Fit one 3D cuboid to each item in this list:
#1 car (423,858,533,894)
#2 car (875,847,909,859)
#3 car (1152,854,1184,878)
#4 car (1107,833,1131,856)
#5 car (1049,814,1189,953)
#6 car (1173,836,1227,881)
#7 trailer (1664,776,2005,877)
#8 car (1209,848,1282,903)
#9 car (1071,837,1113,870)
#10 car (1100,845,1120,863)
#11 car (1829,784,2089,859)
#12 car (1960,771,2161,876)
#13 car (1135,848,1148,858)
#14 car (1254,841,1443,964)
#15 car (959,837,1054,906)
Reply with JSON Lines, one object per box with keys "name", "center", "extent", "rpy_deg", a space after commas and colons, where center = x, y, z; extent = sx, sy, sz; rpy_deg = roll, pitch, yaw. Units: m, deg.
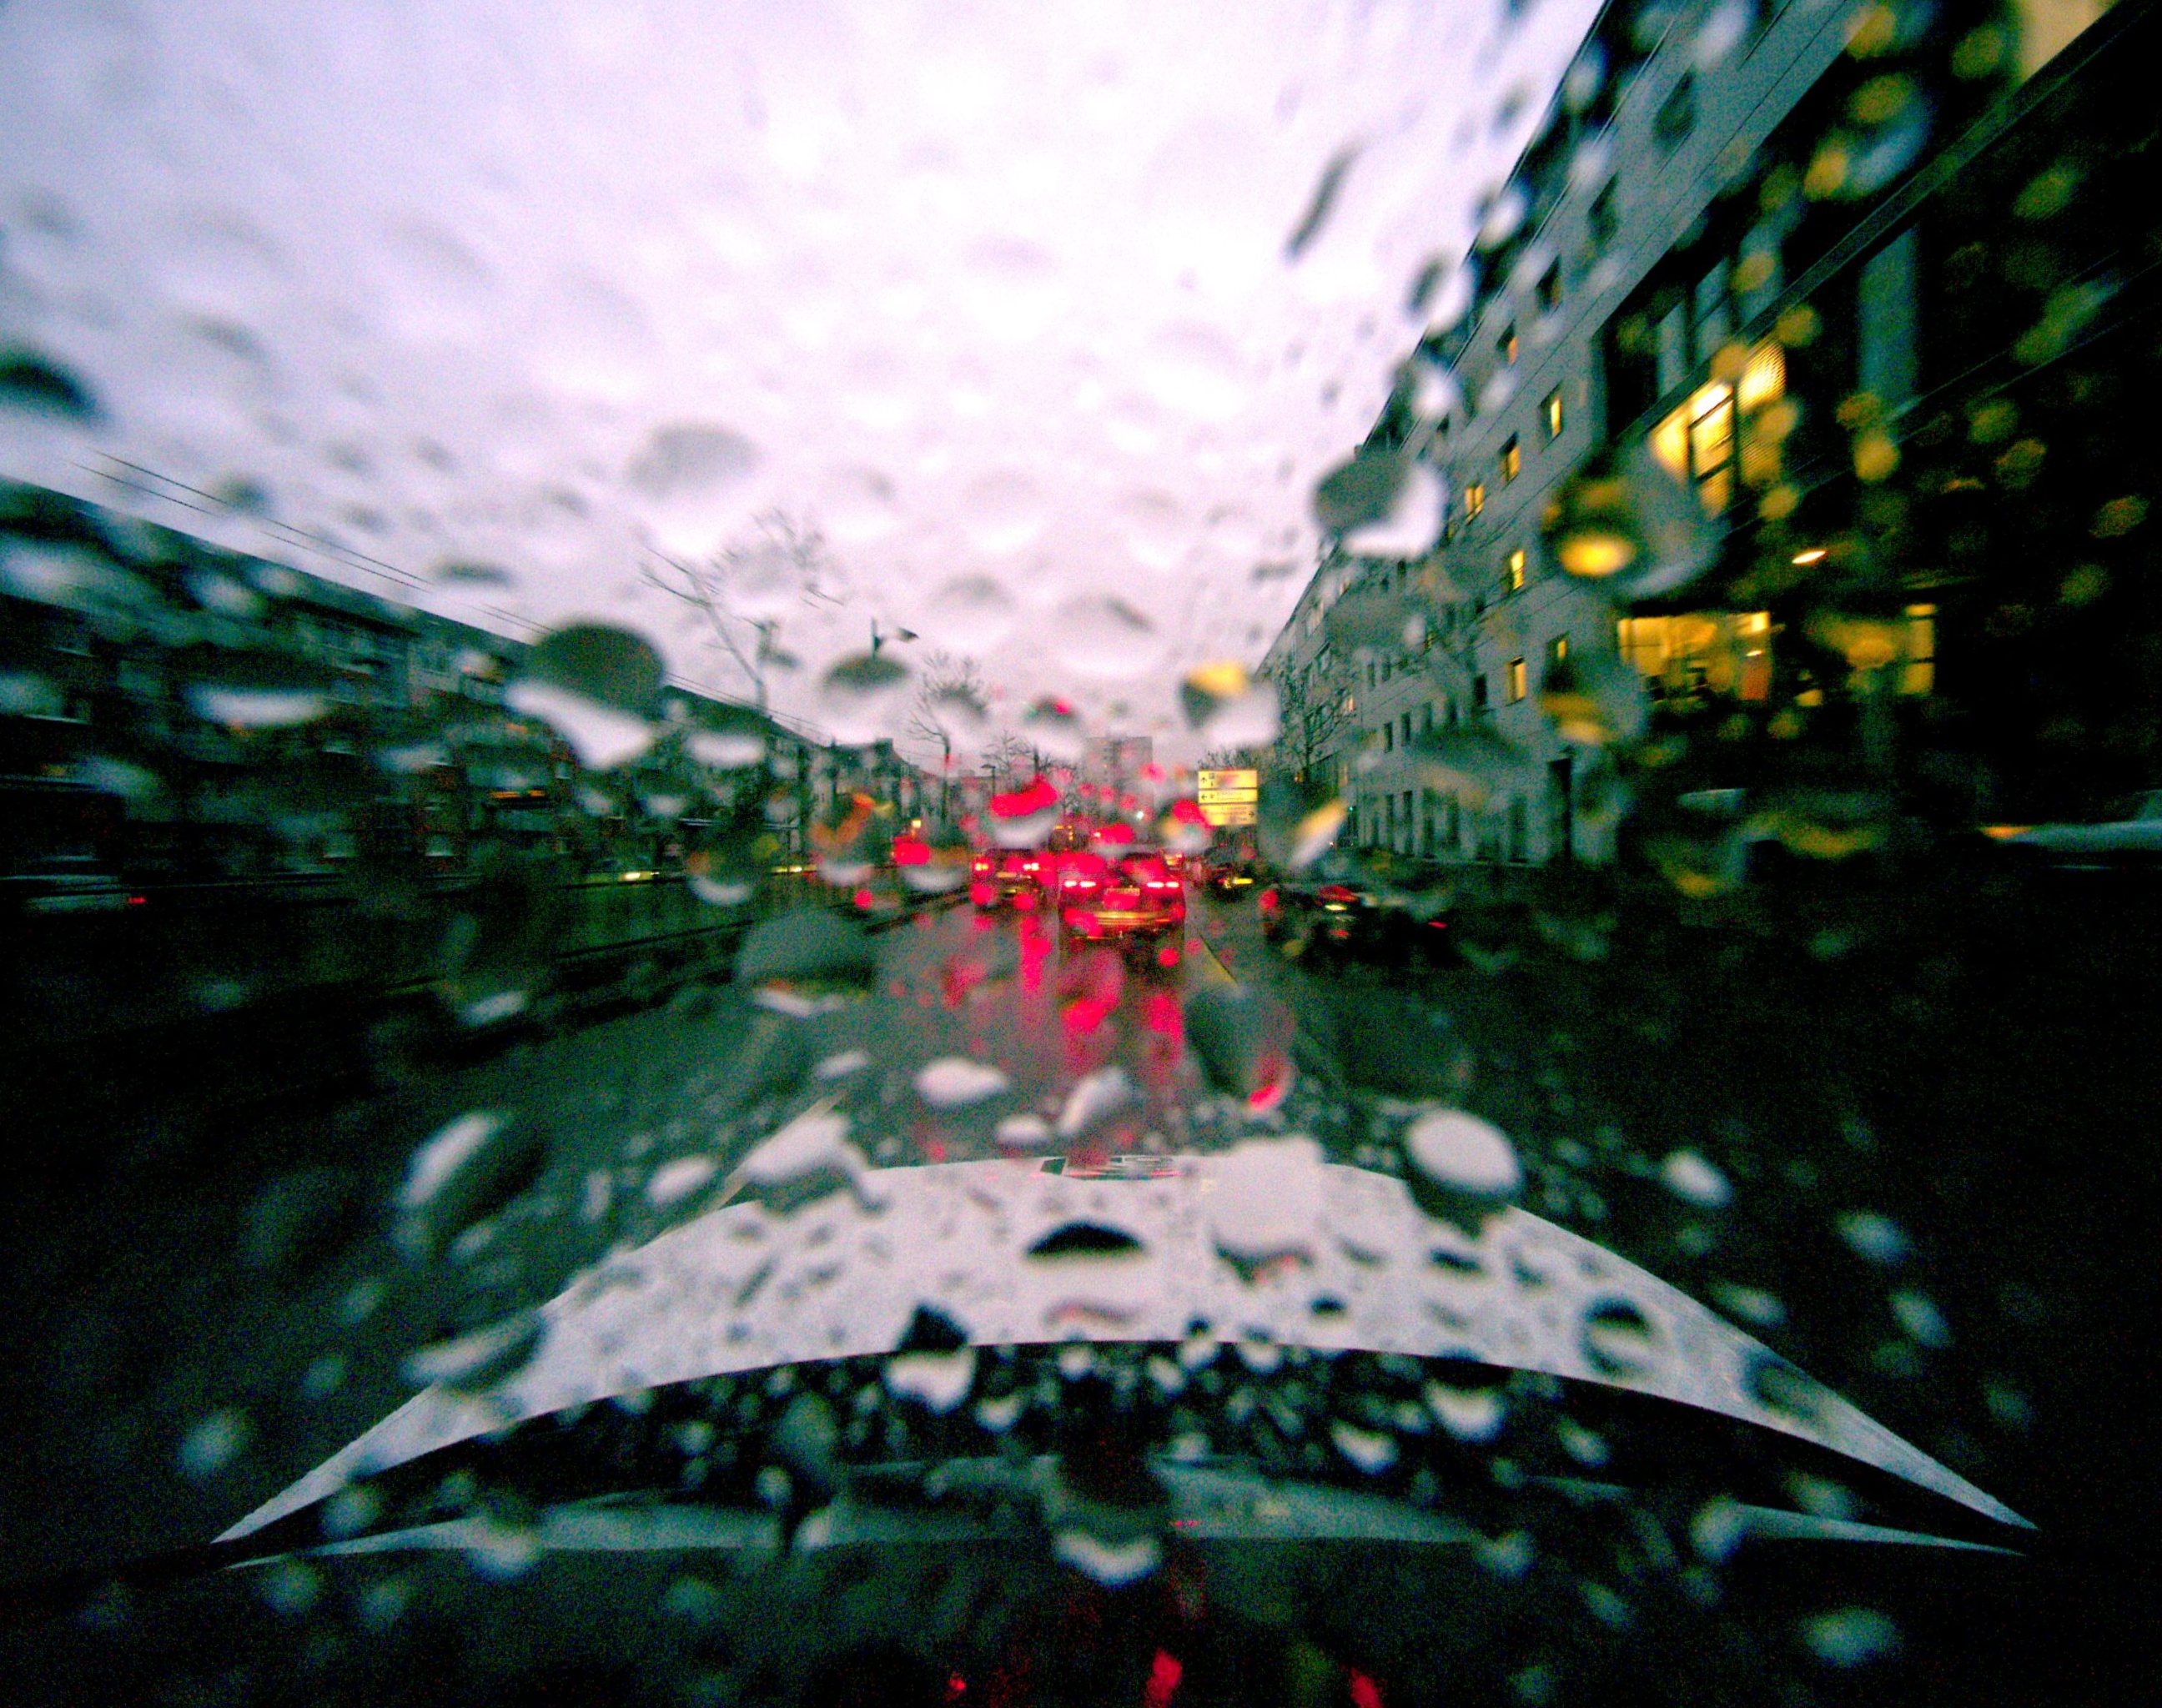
{"name": "car", "center": [-27.301, 0.955, 37.062], "extent": [1.717, 1.544, 4.155], "rpy_deg": [0, 0, 4]}
{"name": "car", "center": [-22.905, -0.101, 98.841], "extent": [3.786, 1.366, 1.698], "rpy_deg": [0, 0, -1]}
{"name": "car", "center": [5.404, 0.736, 50.803], "extent": [1.878, 1.353, 4.107], "rpy_deg": [0, 1, 4]}
{"name": "car", "center": [2.932, -0.696, 62.783], "extent": [1.786, 1.750, 3.628], "rpy_deg": [0, 0, 3]}
{"name": "car", "center": [0.603, 0.424, 13.596], "extent": [1.986, 1.976, 4.069], "rpy_deg": [0, 0, 2]}
{"name": "car", "center": [4.142, 0.118, 28.771], "extent": [1.584, 1.394, 3.490], "rpy_deg": [-3, 1, 4]}
{"name": "trailer", "center": [15.833, -0.563, 17.441], "extent": [5.037, 1.911, 2.136], "rpy_deg": [-1, 2, 9]}
{"name": "car", "center": [4.634, 0.546, 23.432], "extent": [1.745, 1.403, 4.259], "rpy_deg": [0, 1, 7]}
{"name": "car", "center": [0.655, -0.020, 43.077], "extent": [1.985, 1.642, 4.026], "rpy_deg": [0, 0, 4]}
{"name": "car", "center": [3.328, -0.032, 93.098], "extent": [1.943, 2.033, 4.890], "rpy_deg": [-1, 1, 5]}
{"name": "car", "center": [20.535, -0.744, 19.224], "extent": [3.961, 1.518, 1.662], "rpy_deg": [-2, 1, 11]}
{"name": "car", "center": [14.996, -0.396, 10.921], "extent": [1.625, 1.371, 4.532], "rpy_deg": [0, 0, 2]}
{"name": "car", "center": [9.067, -0.164, 121.041], "extent": [1.761, 1.502, 3.375], "rpy_deg": [0, 0, 7]}
{"name": "car", "center": [3.600, 0.578, 11.709], "extent": [1.589, 1.440, 4.233], "rpy_deg": [0, 0, 4]}
{"name": "car", "center": [-1.936, 0.442, 22.492], "extent": [1.985, 1.712, 4.328], "rpy_deg": [0, 0, 3]}
